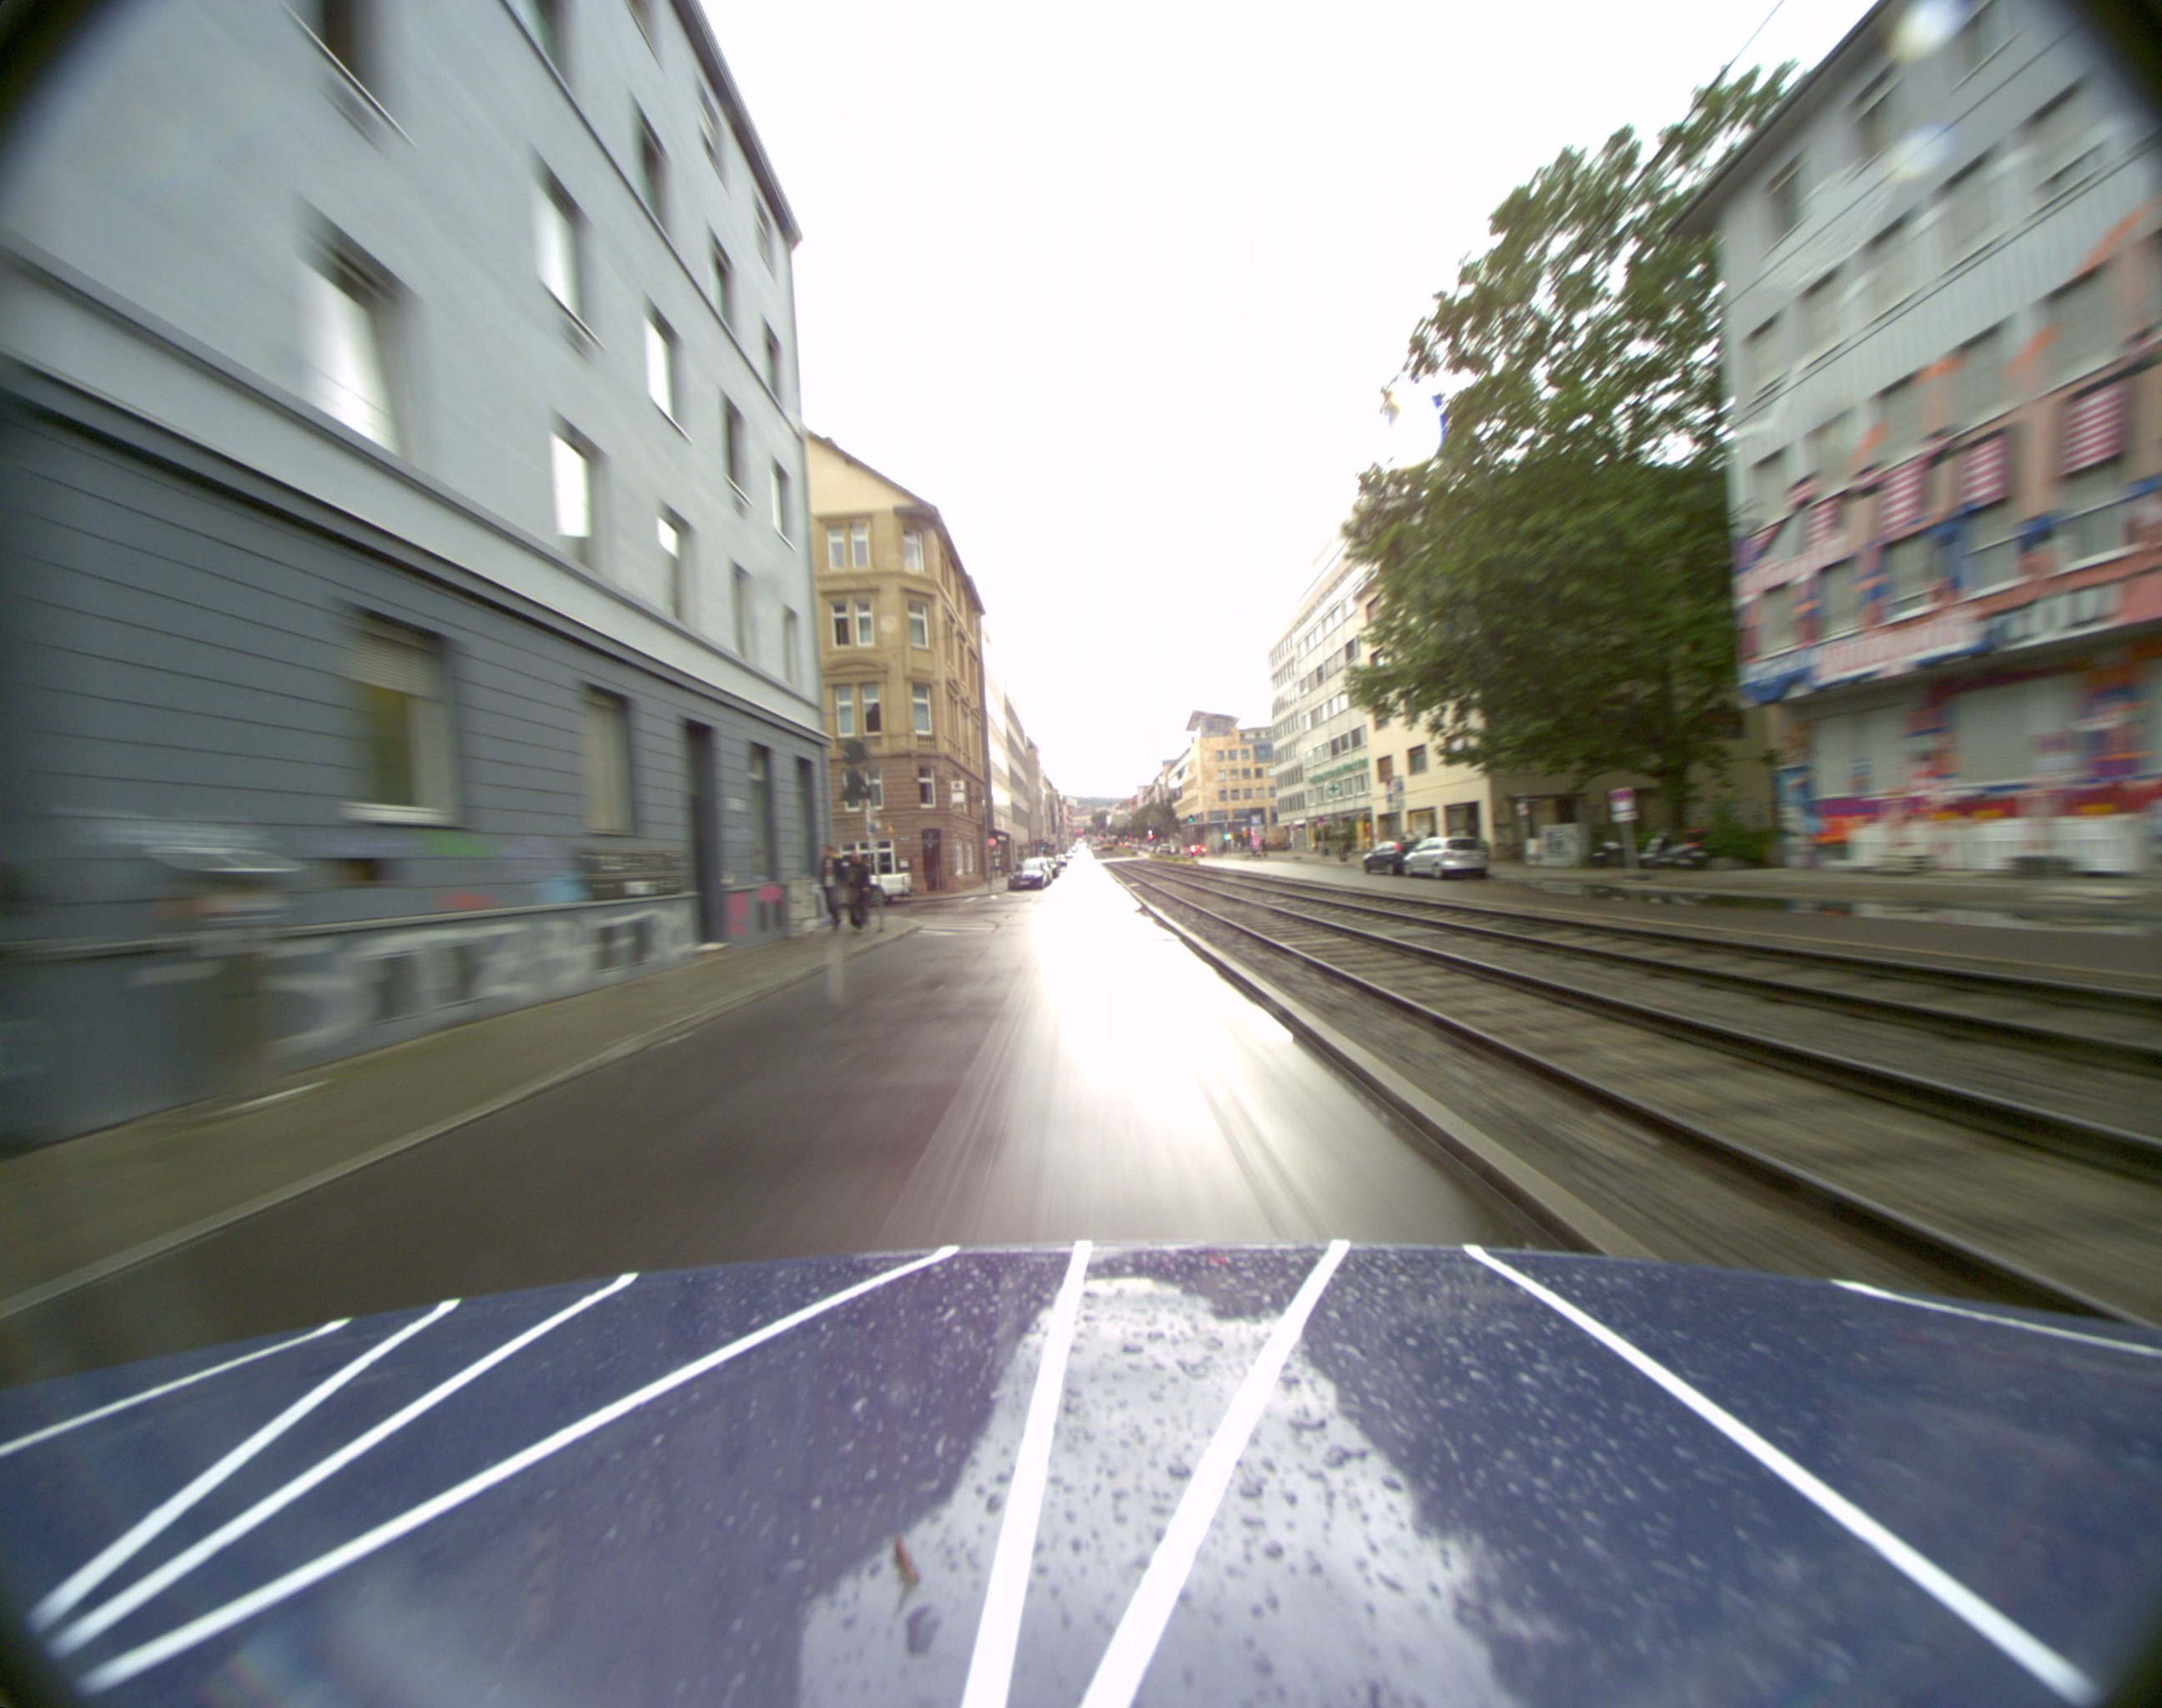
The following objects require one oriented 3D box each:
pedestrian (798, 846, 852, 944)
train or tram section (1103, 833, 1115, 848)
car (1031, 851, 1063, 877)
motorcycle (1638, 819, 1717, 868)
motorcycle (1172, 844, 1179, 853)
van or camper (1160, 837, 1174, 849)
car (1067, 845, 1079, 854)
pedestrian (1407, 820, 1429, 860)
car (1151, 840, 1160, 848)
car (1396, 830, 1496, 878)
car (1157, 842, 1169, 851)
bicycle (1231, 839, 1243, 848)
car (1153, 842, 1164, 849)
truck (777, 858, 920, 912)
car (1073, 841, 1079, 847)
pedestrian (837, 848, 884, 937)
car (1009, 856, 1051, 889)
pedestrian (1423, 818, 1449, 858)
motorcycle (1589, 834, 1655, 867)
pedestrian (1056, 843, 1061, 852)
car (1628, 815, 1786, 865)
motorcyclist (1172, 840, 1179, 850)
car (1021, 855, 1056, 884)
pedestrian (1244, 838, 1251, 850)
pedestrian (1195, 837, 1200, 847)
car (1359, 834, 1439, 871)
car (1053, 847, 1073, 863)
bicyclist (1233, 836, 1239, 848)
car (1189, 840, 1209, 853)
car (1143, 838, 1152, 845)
[{"bbox_3d":[-5.490,0.859,16.342,0.738,2.002,0.821,-4,1,0],"label":"pedestrian"},{"bbox_3d":[8.504,-4.293,231.353,2.909,4.028,18.761,-3,2,1],"label":"train or tram section"},{"bbox_3d":[-2.441,0.718,55.668,1.998,1.585,4.570,-3,2,1],"label":"car"},{"bbox_3d":[18.152,-0.316,23.202,0.640,1.371,2.119,-4,1,-1],"label":"motorcycle"},{"bbox_3d":[12.295,-0.720,99.018,0.744,1.054,1.931,-4,1,2],"label":"motorcycle"},{"bbox_3d":[15.893,-2.124,140.490,2.022,1.986,5.195,-4,2,1],"label":"van or camper"},{"bbox_3d":[-1.545,-0.879,148.011,2.029,1.585,4.619,-3,2,0],"label":"car"},{"bbox_3d":[16.609,-0.698,37.468,0.680,1.885,0.742,-4,2,0],"label":"pedestrian"},{"bbox_3d":[16.052,-2.155,163.478,1.653,1.489,4.191,-3,1,1],"label":"car"},{"bbox_3d":[13.808,-0.038,29.026,1.726,1.561,4.219,-4,1,0],"label":"car"},{"bbox_3d":[16.006,-1.474,148.307,1.693,1.477,4.255,-4,1,-1],"label":"car"},{"bbox_3d":[25.238,-1.629,123.150,1.768,1.303,0.660,-5,1,0],"label":"bicycle"},{"bbox_3d":[16.247,-1.779,158.739,1.693,1.477,3.999,-4,1,-1],"label":"car"},{"bbox_3d":[-9.344,1.207,30.893,5.072,1.808,2.083,-3,1,-2],"label":"truck"},{"bbox_3d":[-1.475,-2.897,217.060,1.653,1.489,4.066,-3,1,1],"label":"car"},{"bbox_3d":[-4.778,0.821,16.506,0.663,1.841,0.821,-4,1,0],"label":"pedestrian"},{"bbox_3d":[-2.619,0.921,40.256,1.724,1.507,4.258,-4,0,2],"label":"car"},{"bbox_3d":[17.455,-0.786,37.406,0.729,1.885,0.982,-4,2,1],"label":"pedestrian"},{"bbox_3d":[18.383,-0.134,25.878,0.640,1.027,2.119,-4,1,-1],"label":"motorcycle"},{"bbox_3d":[-4.270,-1.186,145.906,0.793,1.650,0.721,-5,2,0],"label":"pedestrian"},{"bbox_3d":[21.047,-0.459,25.796,1.999,1.446,3.999,-3,0,0],"label":"car"},{"bbox_3d":[12.264,-1.166,99.046,0.743,1.211,0.970,-4,2,2],"label":"motorcyclist"},{"bbox_3d":[-2.471,0.871,45.123,1.750,1.514,4.354,-4,0,0],"label":"car"},{"bbox_3d":[24.288,-1.488,110.764,0.677,1.771,0.704,-4,1,35],"label":"pedestrian"},{"bbox_3d":[20.405,-2.069,132.607,0.703,1.804,0.679,-4,1,3],"label":"pedestrian"},{"bbox_3d":[13.996,-0.100,33.734,1.748,1.460,4.219,-3,1,0],"label":"car"},{"bbox_3d":[-1.944,0.075,84.681,1.998,1.585,4.270,-3,2,1],"label":"car"},{"bbox_3d":[25.129,-1.945,123.371,0.710,1.794,0.784,-4,1,0],"label":"bicyclist"},{"bbox_3d":[14.996,-1.008,96.905,1.998,1.510,4.444,-4,1,4],"label":"car"},{"bbox_3d":[16.375,-3.161,186.775,1.653,1.532,4.620,-3,1,1],"label":"car"}]
